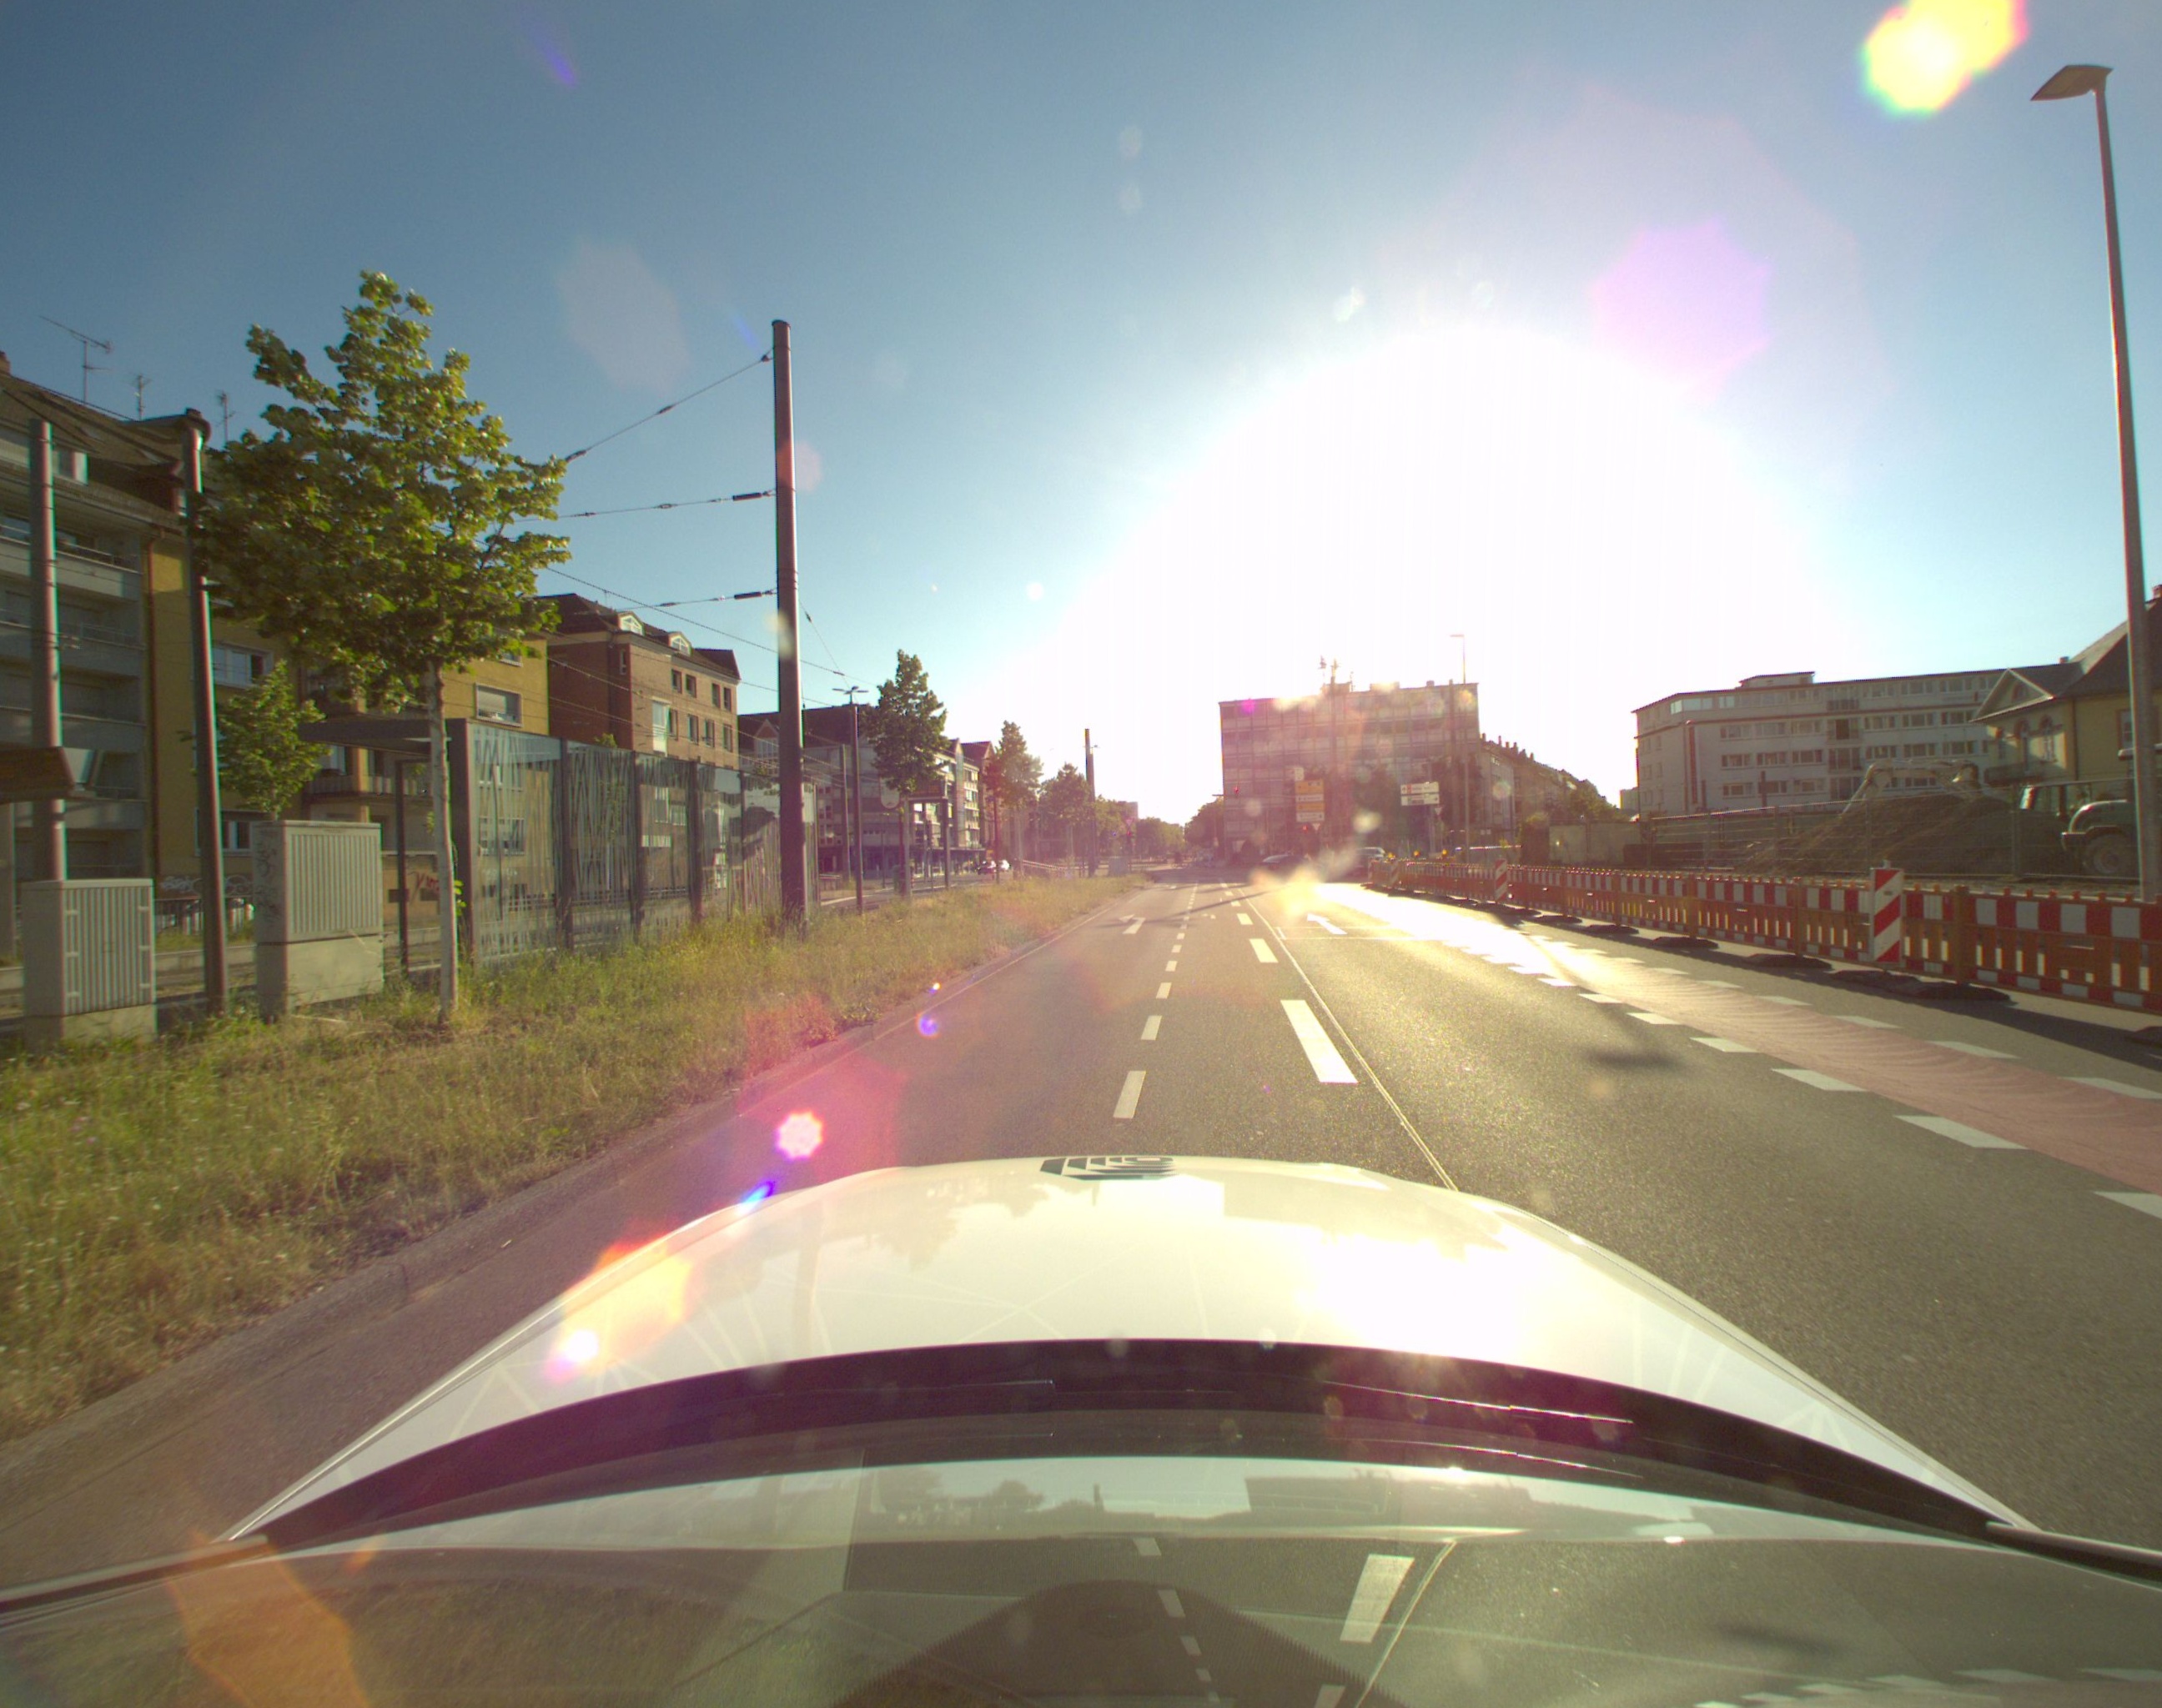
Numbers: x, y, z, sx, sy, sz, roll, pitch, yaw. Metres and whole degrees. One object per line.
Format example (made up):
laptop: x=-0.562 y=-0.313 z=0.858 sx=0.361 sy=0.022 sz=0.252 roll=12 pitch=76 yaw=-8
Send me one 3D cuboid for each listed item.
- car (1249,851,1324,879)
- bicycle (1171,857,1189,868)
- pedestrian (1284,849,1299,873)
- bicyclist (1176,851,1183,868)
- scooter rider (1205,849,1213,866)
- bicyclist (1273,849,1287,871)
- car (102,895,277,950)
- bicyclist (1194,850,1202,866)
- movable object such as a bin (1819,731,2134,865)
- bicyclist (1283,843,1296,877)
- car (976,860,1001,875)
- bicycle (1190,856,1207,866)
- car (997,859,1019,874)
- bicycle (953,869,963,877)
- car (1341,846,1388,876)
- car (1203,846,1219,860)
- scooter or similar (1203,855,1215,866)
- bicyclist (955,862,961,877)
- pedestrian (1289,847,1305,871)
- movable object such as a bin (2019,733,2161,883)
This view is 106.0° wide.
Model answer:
car: x=11.342 y=0.597 z=44.912 sx=4.015 sy=1.426 sz=1.731 roll=-2 pitch=0 yaw=-33
bicycle: x=10.417 y=0.904 z=85.559 sx=1.771 sy=1.072 sz=0.535 roll=-2 pitch=-1 yaw=-2
pedestrian: x=14.851 y=0.497 z=57.539 sx=0.874 sy=1.597 sz=0.656 roll=-2 pitch=-1 yaw=6
bicyclist: x=10.350 y=0.567 z=85.562 sx=0.662 sy=1.712 sz=0.538 roll=-2 pitch=-1 yaw=-1
scooter rider: x=13.201 y=0.375 z=84.166 sx=0.662 sy=1.712 sz=0.526 roll=-2 pitch=-1 yaw=-1
bicyclist: x=14.937 y=0.439 z=61.267 sx=0.952 sy=1.661 sz=0.693 roll=-2 pitch=-1 yaw=11
car: x=-29.867 y=2.254 z=27.437 sx=1.737 sy=1.486 sz=3.561 roll=-3 pitch=0 yaw=8
bicyclist: x=12.950 y=0.408 z=90.288 sx=0.662 sy=1.712 sz=0.538 roll=-2 pitch=-1 yaw=-1
movable object such as a bin: x=27.405 y=-1.548 z=25.435 sx=6.002 sy=3.558 sz=2.880 roll=-2 pitch=0 yaw=34
bicyclist: x=12.548 y=0.343 z=48.993 sx=0.640 sy=2.013 sz=1.070 roll=0 pitch=1 yaw=9
car: x=-12.229 y=1.744 z=107.878 sx=1.981 sy=1.860 sz=4.012 roll=-3 pitch=0 yaw=11
bicycle: x=13.020 y=0.741 z=90.285 sx=1.727 sy=1.059 sz=0.539 roll=-2 pitch=-1 yaw=-2
car: x=-10.331 y=1.755 z=115.879 sx=1.981 sy=1.860 sz=4.012 roll=-3 pitch=0 yaw=11
bicycle: x=-15.712 y=2.407 z=104.088 sx=0.594 sy=0.915 sz=1.841 roll=-3 pitch=0 yaw=10
car: x=17.160 y=0.382 z=49.217 sx=1.975 sy=1.693 sz=4.025 roll=0 pitch=1 yaw=29
car: x=23.288 y=-0.196 z=146.072 sx=2.472 sy=2.392 sz=5.947 roll=-4 pitch=-1 yaw=8
scooter or similar: x=13.234 y=0.702 z=84.166 sx=1.168 sy=1.072 sz=0.529 roll=-2 pitch=-1 yaw=-2
bicyclist: x=-15.711 y=1.945 z=104.163 sx=0.589 sy=1.862 sz=0.644 roll=-3 pitch=-1 yaw=10
pedestrian: x=15.059 y=0.347 z=56.813 sx=0.874 sy=1.597 sz=0.656 roll=-2 pitch=-1 yaw=6
movable object such as a bin: x=20.536 y=-0.866 z=14.515 sx=2.263 sy=2.704 sz=4.954 roll=-2 pitch=0 yaw=8
